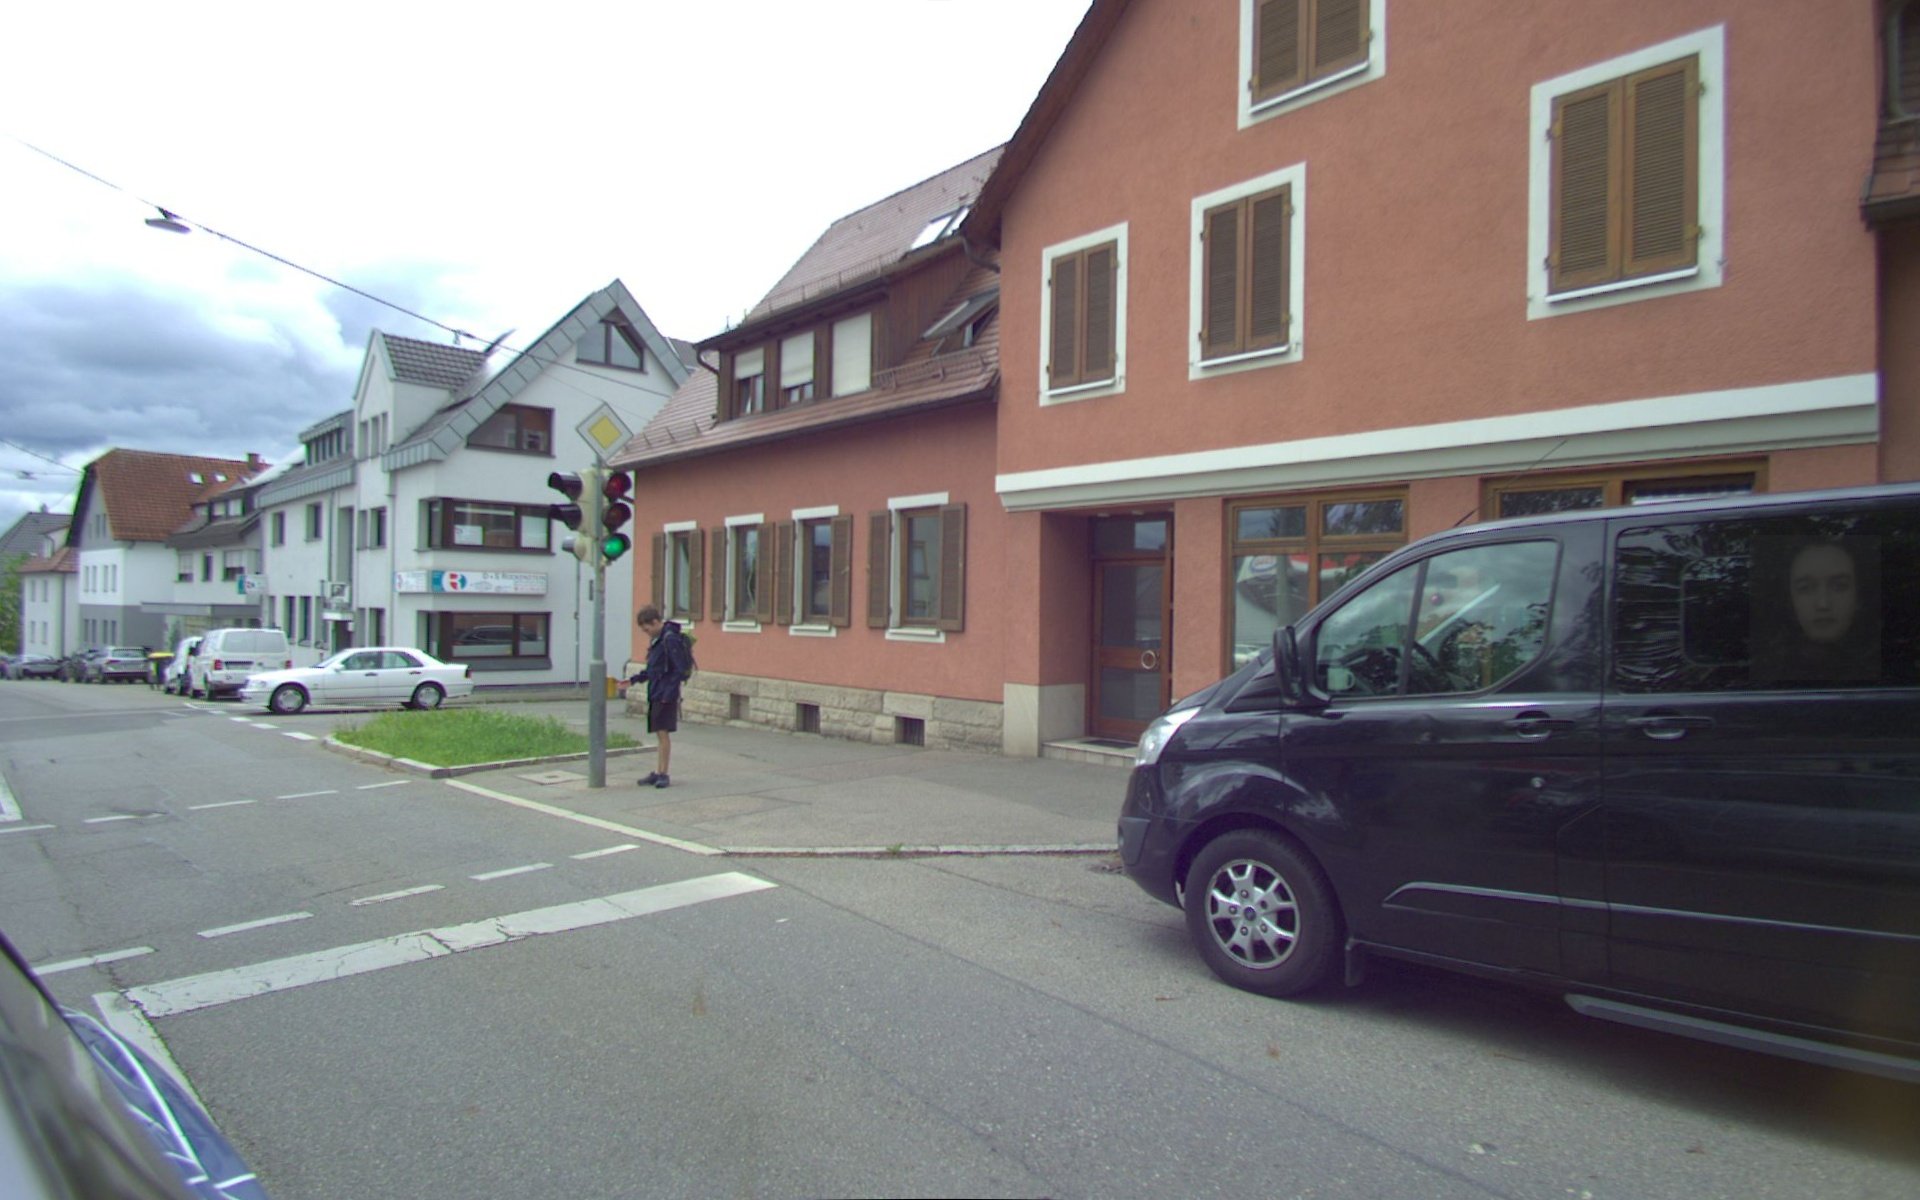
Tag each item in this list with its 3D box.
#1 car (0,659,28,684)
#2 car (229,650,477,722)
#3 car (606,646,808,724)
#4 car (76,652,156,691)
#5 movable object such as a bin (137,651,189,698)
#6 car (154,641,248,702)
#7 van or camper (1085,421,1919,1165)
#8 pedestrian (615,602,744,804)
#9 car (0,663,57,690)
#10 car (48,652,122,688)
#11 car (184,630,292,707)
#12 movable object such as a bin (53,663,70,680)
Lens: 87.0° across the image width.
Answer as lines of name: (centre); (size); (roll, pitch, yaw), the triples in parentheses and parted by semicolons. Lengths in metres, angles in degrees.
car: (-57.637, 4.285, 60.631); (3.991, 1.456, 1.821); (-3, -5, 35)
car: (-13.583, 1.874, 22.812); (4.496, 1.456, 2.003); (3, -5, -41)
car: (-5.660, 1.890, 22.866); (3.993, 1.602, 1.807); (4, -4, -38)
car: (-37.397, 3.135, 44.798); (4.402, 1.645, 1.820); (-3, -4, 38)
movable object such as a bin: (-29.083, 2.714, 36.918); (1.561, 1.645, 1.129); (-3, -4, 38)
car: (-24.641, 2.319, 32.812); (4.298, 1.846, 1.714); (-4, -5, 44)
van or camper: (3.041, 0.581, 3.790); (4.858, 2.021, 2.050); (-3, -5, 44)
pedestrian: (-2.674, 0.934, 9.635); (0.879, 1.798, 0.803); (0, -2, -45)
car: (-52.511, 4.297, 56.846); (4.461, 1.456, 1.820); (-3, -5, 38)
car: (-41.809, 3.340, 48.306); (4.402, 1.645, 1.820); (-3, -5, 38)
car: (-20.619, 1.941, 28.826); (1.790, 2.021, 4.766); (4, -5, -43)
movable object such as a bin: (-58.179, 4.615, 65.559); (0.758, 1.053, 0.671); (-3, -1, 37)
